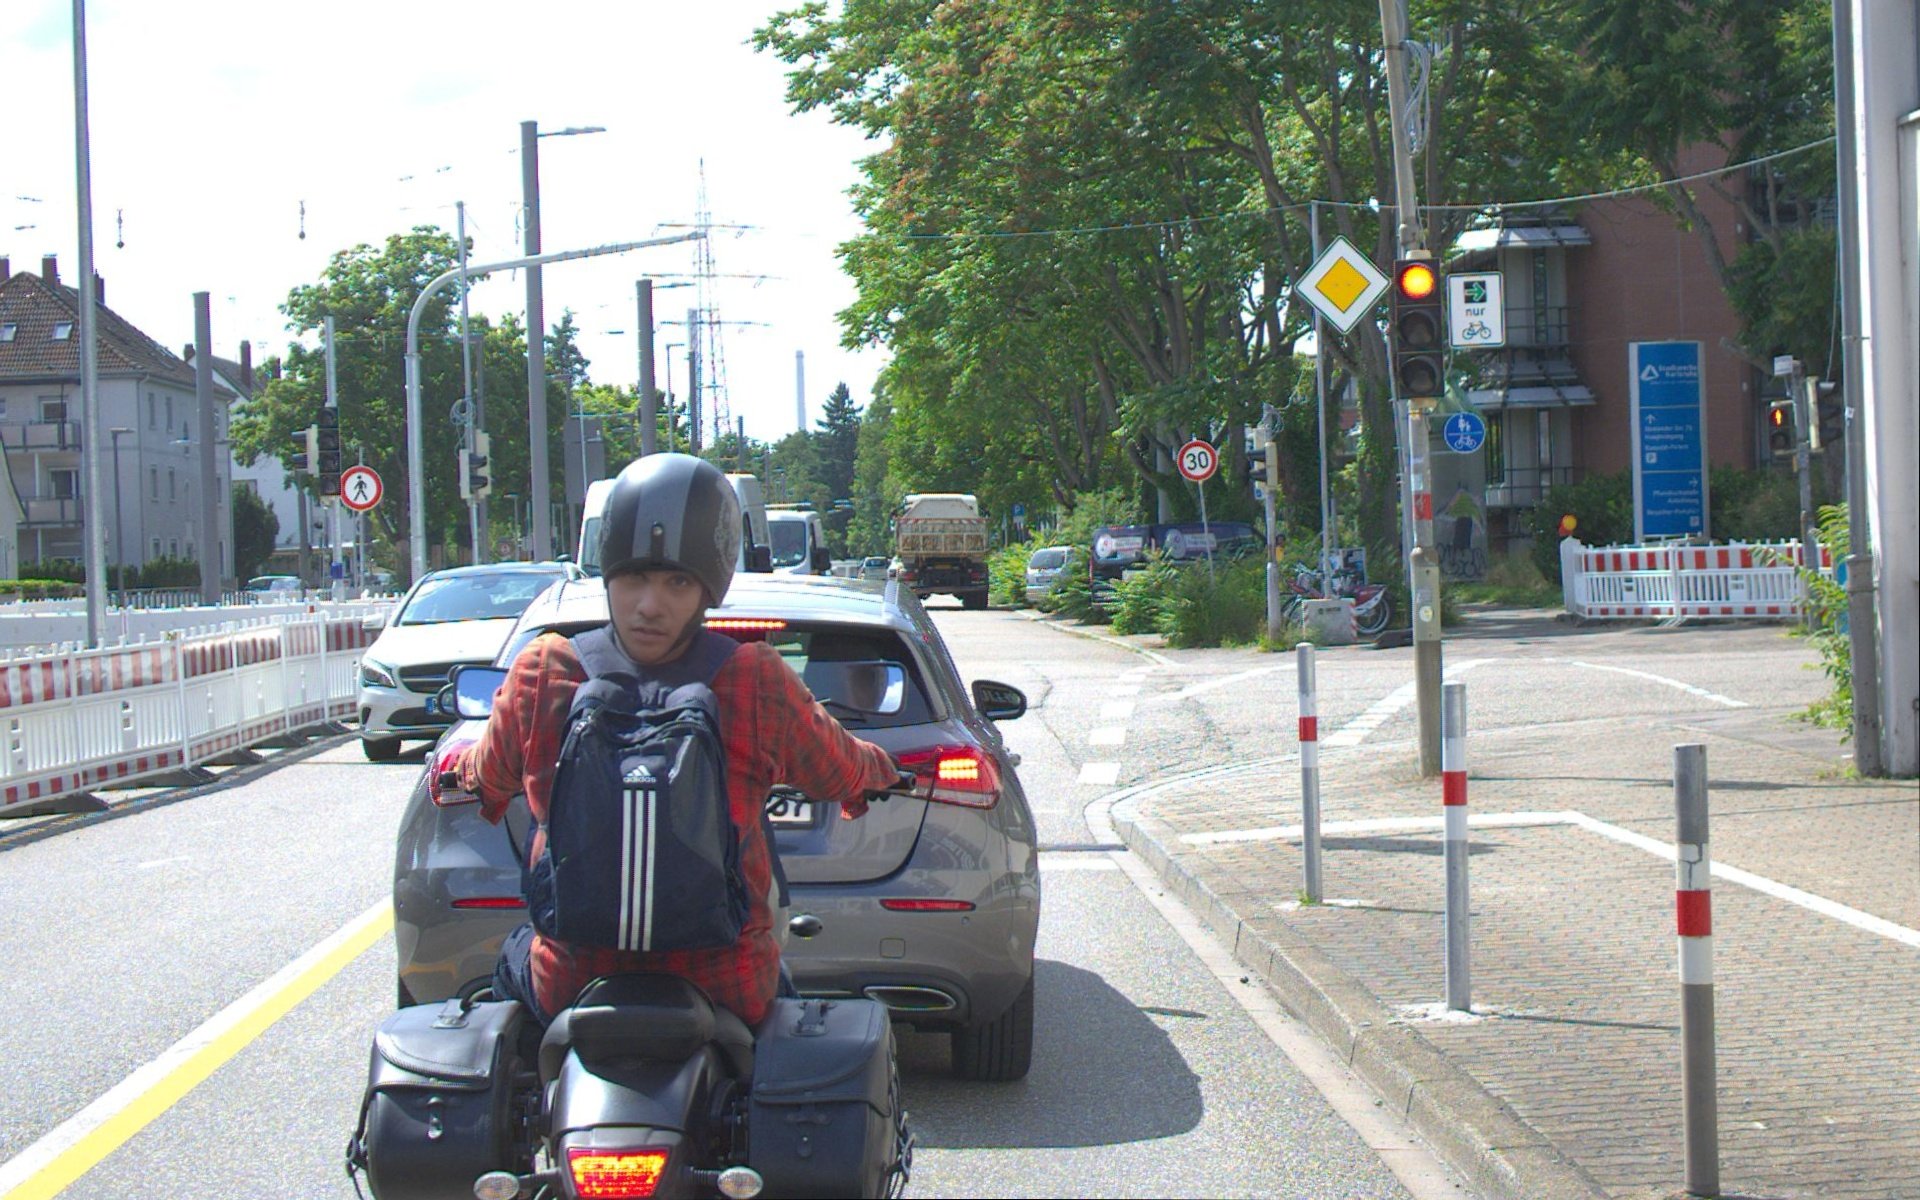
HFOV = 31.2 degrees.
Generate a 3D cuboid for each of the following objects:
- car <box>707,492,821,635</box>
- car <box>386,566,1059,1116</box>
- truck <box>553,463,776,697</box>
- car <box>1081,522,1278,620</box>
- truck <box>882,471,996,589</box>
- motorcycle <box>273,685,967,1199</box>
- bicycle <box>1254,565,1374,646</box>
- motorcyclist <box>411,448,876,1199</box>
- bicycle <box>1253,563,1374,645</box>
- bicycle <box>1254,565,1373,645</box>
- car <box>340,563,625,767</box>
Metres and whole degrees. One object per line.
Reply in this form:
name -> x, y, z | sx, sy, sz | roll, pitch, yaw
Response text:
car -> -3.019, -0.550, 53.369 | 1.589, 2.135, 3.627 | 0, 0, -1
car -> -0.818, 0.610, 10.961 | 1.731, 1.399, 4.087 | 1, 1, -6
truck -> -3.383, -0.317, 40.296 | 2.093, 2.468, 5.196 | -3, 2, -1
car -> 4.466, -0.577, 69.593 | 1.802, 1.919, 3.990 | 0, 0, 44
truck -> -0.521, -1.883, 95.634 | 2.967, 3.162, 7.764 | 0, 0, 1
motorcycle -> -0.494, 0.797, 5.932 | 0.942, 1.196, 2.473 | 0, 1, -1
bicycle -> 5.126, 0.076, 49.850 | 1.708, 1.168, 0.438 | 0, 0, 4
motorcyclist -> -0.487, 0.570, 5.546 | 0.698, 1.599, 0.692 | 0, 0, -1
bicycle -> 5.070, 0.060, 49.306 | 1.708, 1.168, 0.438 | 0, 0, 4
bicycle -> 5.182, 0.074, 50.444 | 1.708, 1.168, 0.438 | 0, 0, 4
car -> -3.718, 0.471, 27.397 | 1.744, 1.432, 4.084 | -2, 0, -1
